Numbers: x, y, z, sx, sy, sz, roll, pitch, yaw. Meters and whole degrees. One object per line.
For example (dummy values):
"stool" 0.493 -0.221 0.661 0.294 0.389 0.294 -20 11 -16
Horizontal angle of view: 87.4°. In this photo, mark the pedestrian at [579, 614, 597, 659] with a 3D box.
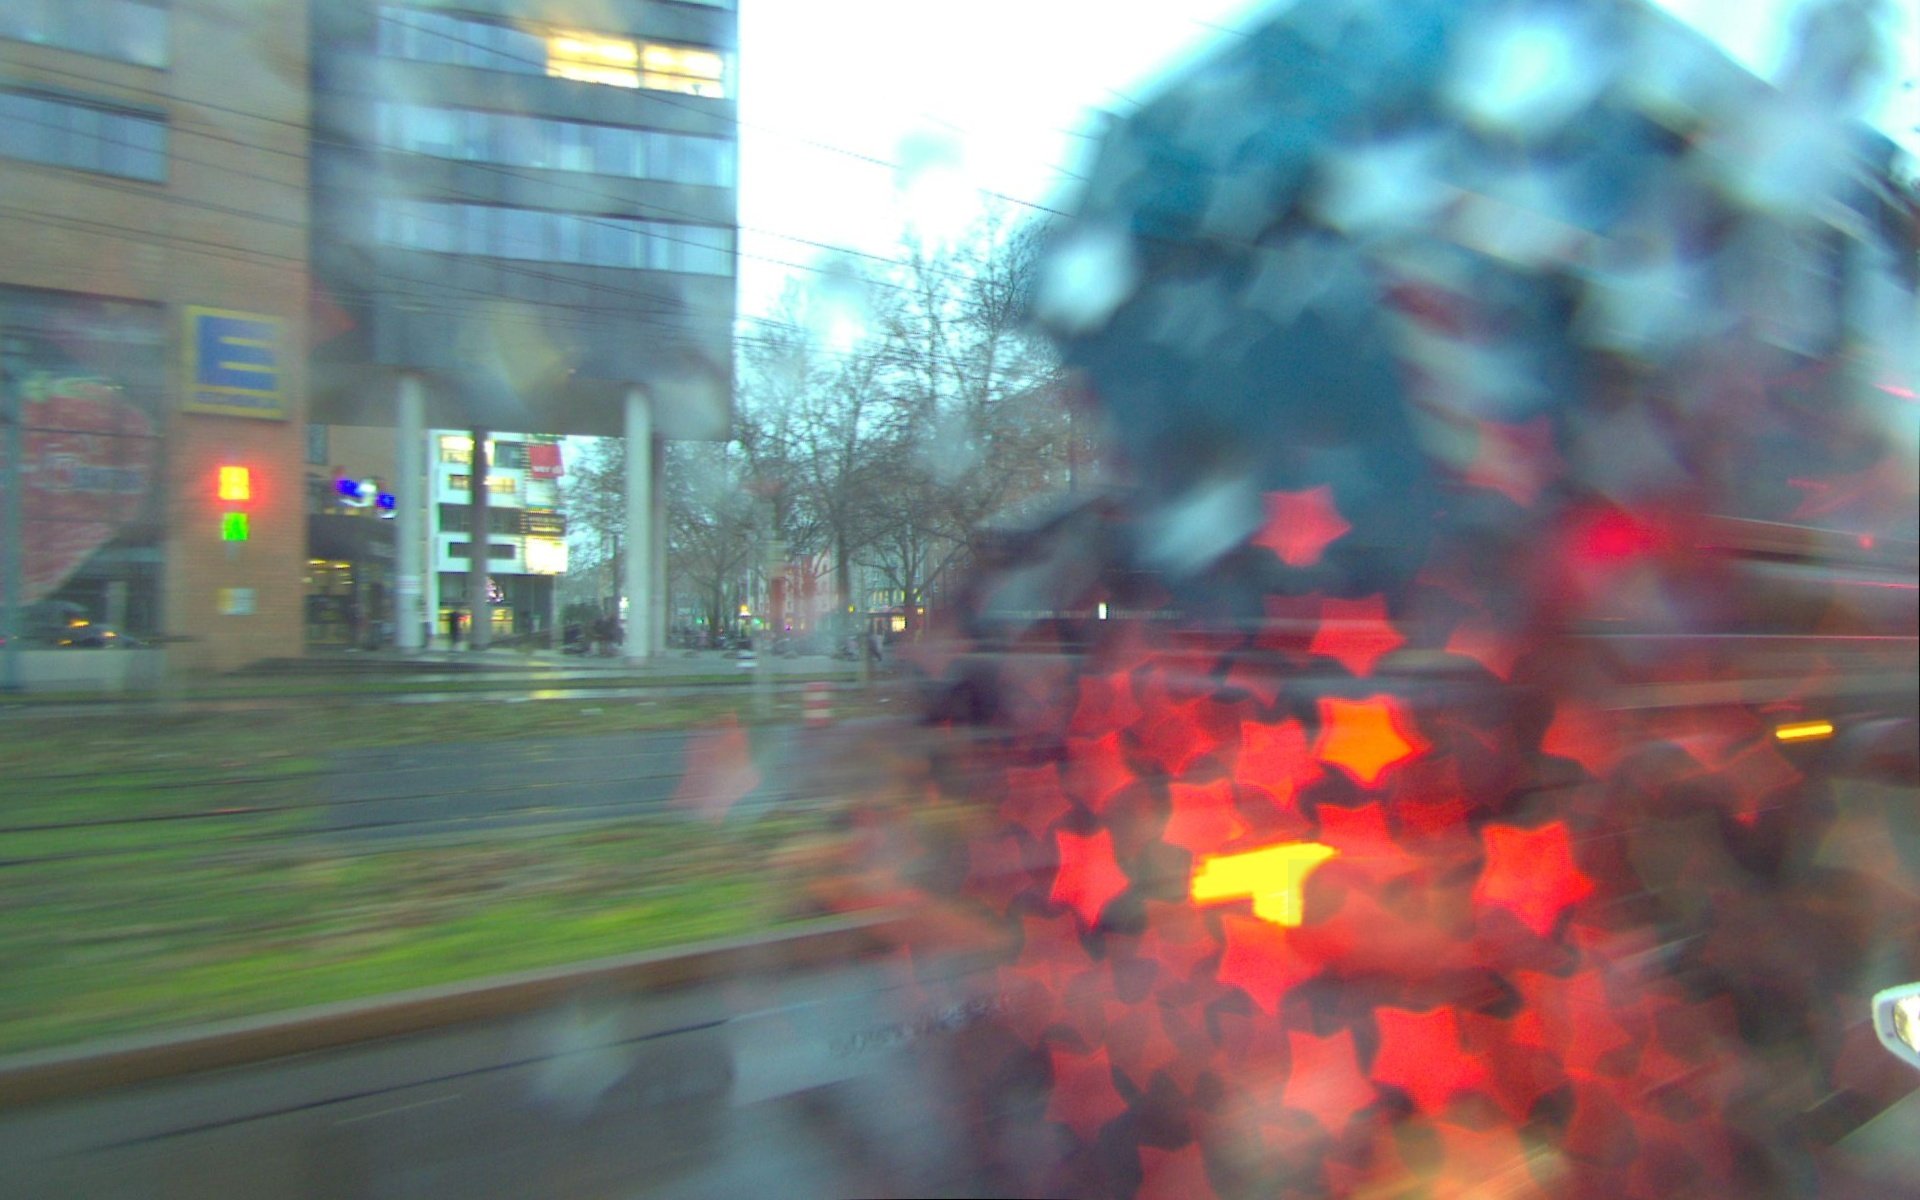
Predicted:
"pedestrian" -15.143 1.476 40.886 0.629 1.797 0.569 1 -2 -26

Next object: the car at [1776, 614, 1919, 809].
"car" 9.040 0.917 8.724 3.952 1.467 1.698 2 0 -29

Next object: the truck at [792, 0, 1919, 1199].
"truck" 3.202 -0.289 4.875 7.445 3.681 2.823 1 -1 -33

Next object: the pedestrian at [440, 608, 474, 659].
"pedestrian" -17.770 1.181 35.480 0.690 1.775 0.794 0 -1 17

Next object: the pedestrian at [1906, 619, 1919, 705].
"pedestrian" 18.540 1.158 18.725 1.016 1.621 0.716 -1 -3 10

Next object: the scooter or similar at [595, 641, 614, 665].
"scooter or similar" -14.556 2.171 41.139 0.657 0.973 0.550 1 -2 -26

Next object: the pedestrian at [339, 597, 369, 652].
"pedestrian" -19.992 0.808 33.162 0.526 1.775 0.664 0 -1 29

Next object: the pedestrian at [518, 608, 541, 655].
"pedestrian" -16.676 1.221 38.885 0.697 1.775 0.566 1 -1 -34
